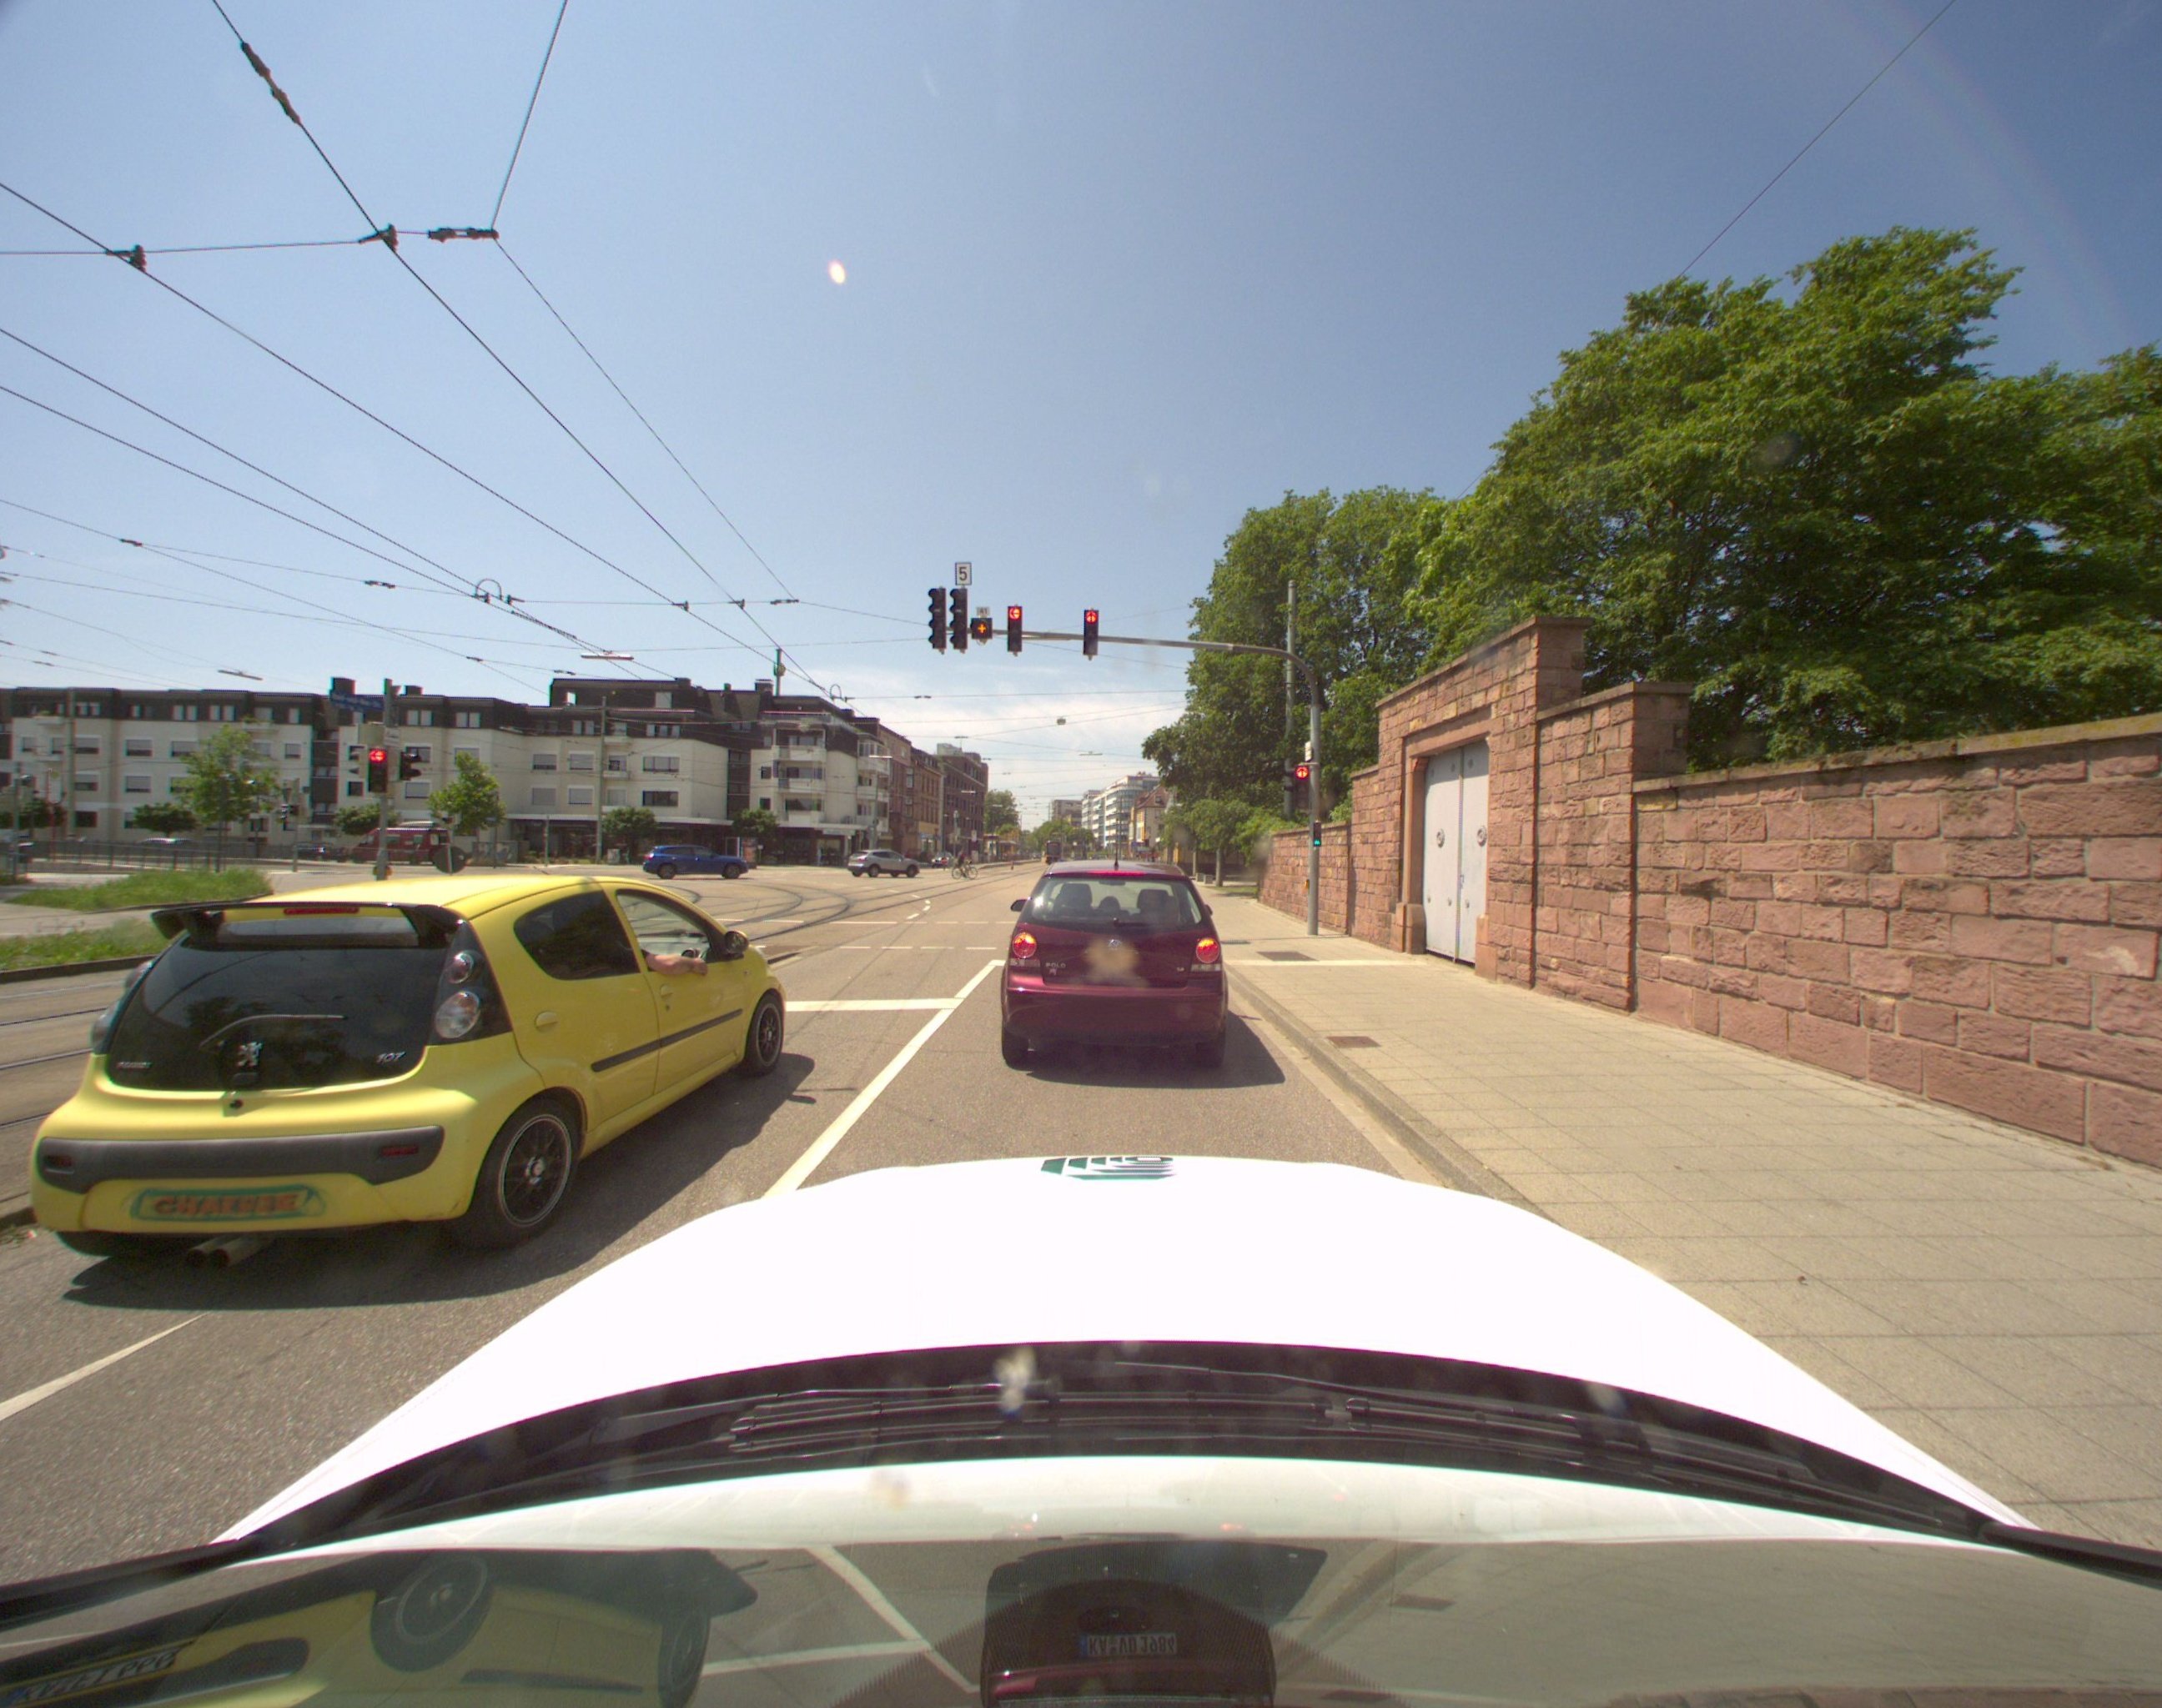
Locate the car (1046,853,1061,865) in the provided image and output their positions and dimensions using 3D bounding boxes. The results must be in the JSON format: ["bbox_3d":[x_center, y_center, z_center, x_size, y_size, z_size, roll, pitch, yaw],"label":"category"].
[{"bbox_3d":[-3.867,0.759,116.665,1.931,1.641,4.000,0,-1,1],"label":"car"}]

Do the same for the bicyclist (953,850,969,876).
[{"bbox_3d":[-6.971,0.508,47.370,0.476,1.501,0.757,-1,-1,43],"label":"bicyclist"}]

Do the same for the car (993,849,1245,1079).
[{"bbox_3d":[0.268,0.712,7.310,1.604,1.463,4.085,1,0,0],"label":"car"}]

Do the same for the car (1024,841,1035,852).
[{"bbox_3d":[-9.657,-1.329,153.881,1.728,2.013,4.002,1,0,2],"label":"car"}]

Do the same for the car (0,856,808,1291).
[{"bbox_3d":[-2.957,0.767,4.466,1.717,1.445,3.293,-1,0,1],"label":"car"}]

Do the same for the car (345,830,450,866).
[{"bbox_3d":[-45.493,-0.390,54.317,5.048,2.341,2.244,0,-1,0],"label":"car"}]

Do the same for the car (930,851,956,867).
[{"bbox_3d":[-13.763,0.493,81.461,1.682,1.462,4.003,1,0,3],"label":"car"}]

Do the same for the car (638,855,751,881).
[{"bbox_3d":[-18.812,0.662,39.714,4.800,1.237,1.920,0,-1,-31],"label":"car"}]

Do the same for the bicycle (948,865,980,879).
[{"bbox_3d":[-6.800,1.064,47.516,0.460,0.783,1.999,-1,-1,43],"label":"bicycle"}]

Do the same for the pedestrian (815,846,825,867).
[{"bbox_3d":[-22.295,0.230,69.558,0.614,1.754,0.499,1,-2,-43],"label":"pedestrian"}]

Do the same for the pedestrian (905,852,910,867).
[{"bbox_3d":[-18.034,0.560,84.753,0.483,1.541,0.537,0,-1,-5],"label":"pedestrian"}]

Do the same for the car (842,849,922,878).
[{"bbox_3d":[-11.504,0.542,47.219,1.915,1.584,4.177,-1,-1,41],"label":"car"}]

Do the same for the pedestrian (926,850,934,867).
[{"bbox_3d":[-16.269,0.440,87.486,0.659,1.787,0.815,1,0,1],"label":"pedestrian"}]
